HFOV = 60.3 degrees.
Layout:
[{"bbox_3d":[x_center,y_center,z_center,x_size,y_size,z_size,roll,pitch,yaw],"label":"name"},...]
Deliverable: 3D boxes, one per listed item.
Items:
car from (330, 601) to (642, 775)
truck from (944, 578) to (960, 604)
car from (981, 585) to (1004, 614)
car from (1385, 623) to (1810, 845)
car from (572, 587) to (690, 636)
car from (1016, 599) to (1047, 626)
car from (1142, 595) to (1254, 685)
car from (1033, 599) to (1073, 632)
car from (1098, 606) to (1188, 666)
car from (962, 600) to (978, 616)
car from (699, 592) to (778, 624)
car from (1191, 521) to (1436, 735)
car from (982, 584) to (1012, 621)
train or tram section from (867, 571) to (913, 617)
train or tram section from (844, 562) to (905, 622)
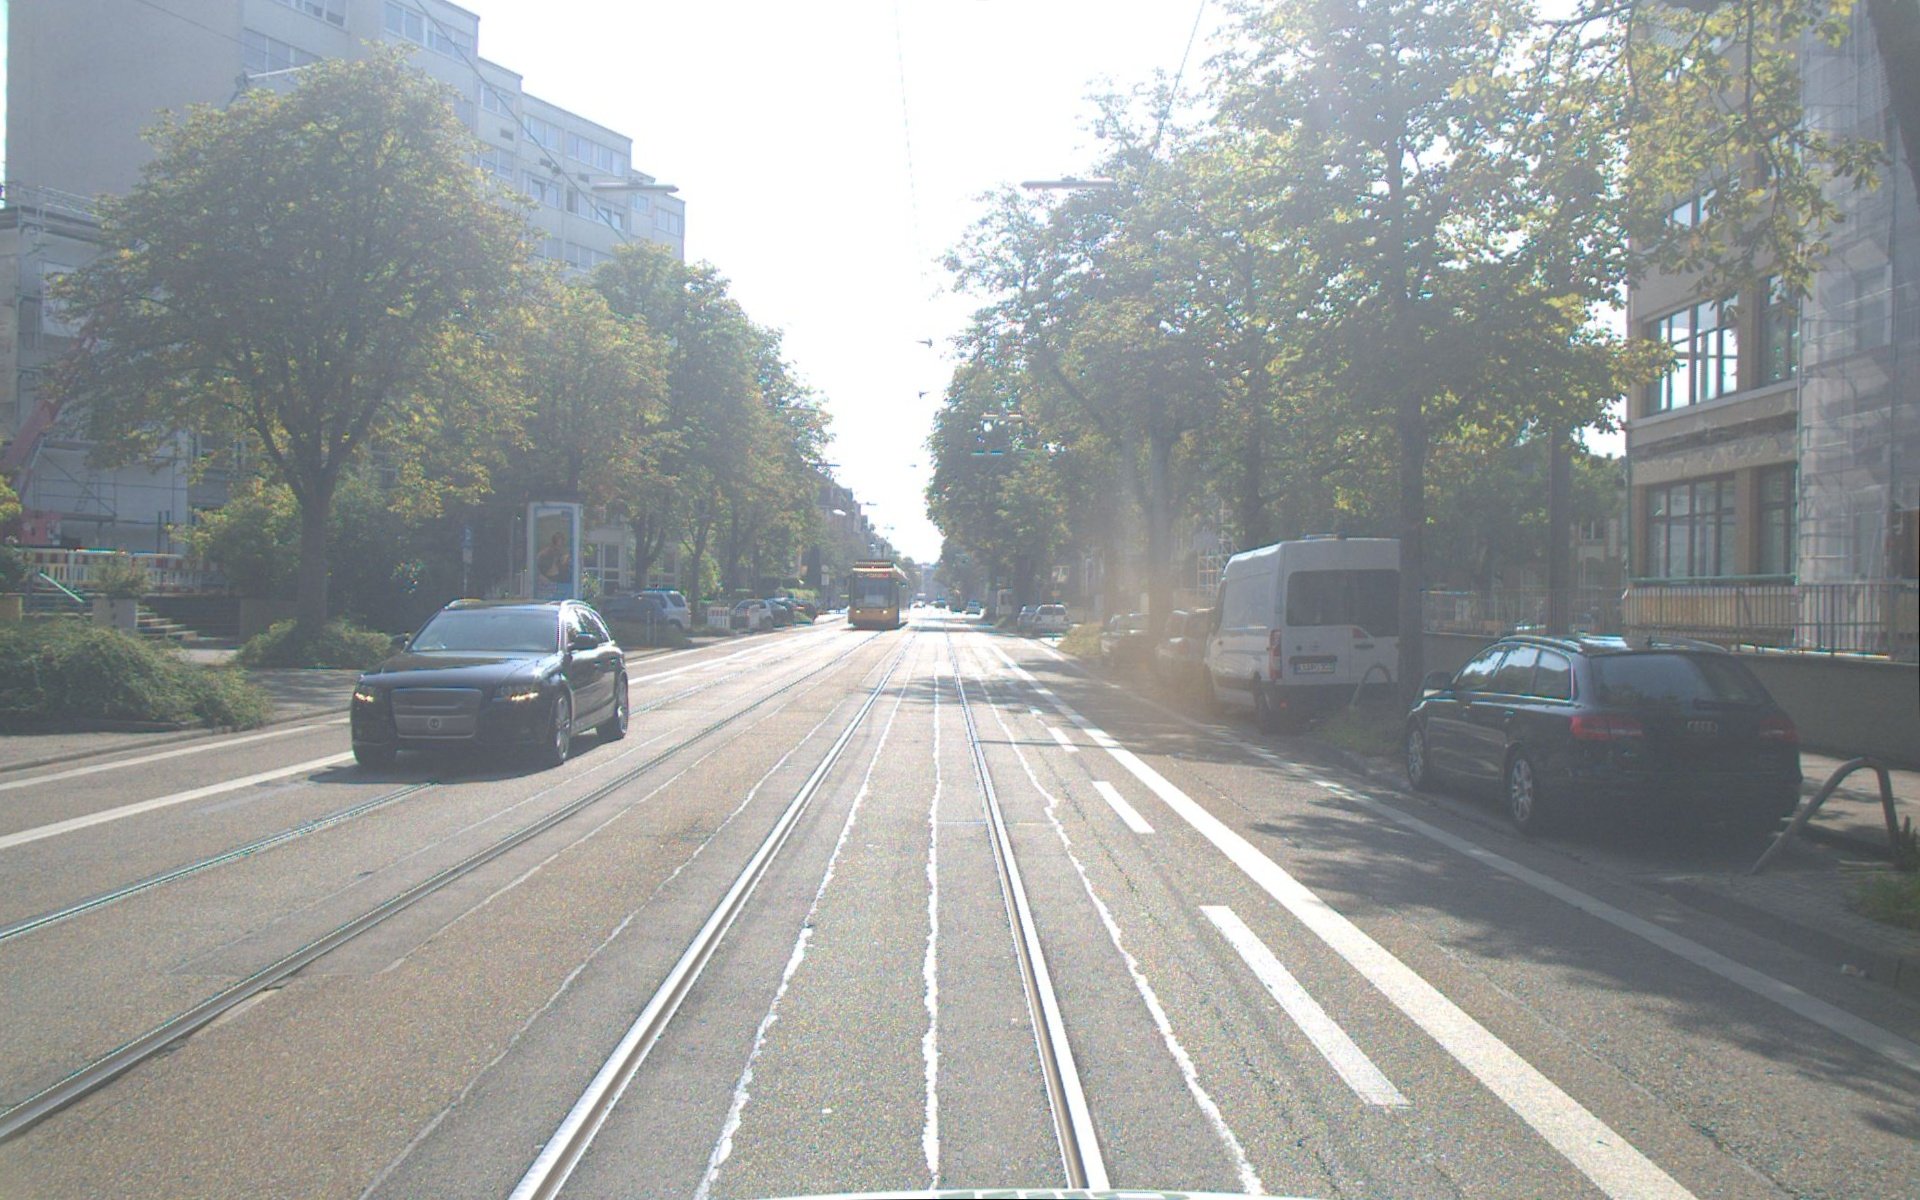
[{"bbox_3d":[-4.347,0.731,15.933,1.791,1.400,4.511,1,0,-2],"label":"car"},{"bbox_3d":[-1.024,-1.075,206.632,1.823,3.185,4.350,1,0,-3],"label":"truck"},{"bbox_3d":[2.832,-0.043,144.727,1.963,2.518,4.477,1,0,0],"label":"car"},{"bbox_3d":[4.867,0.926,13.430,1.583,1.398,4.827,0,0,0],"label":"car"},{"bbox_3d":[-11.523,0.397,58.107,1.715,1.650,3.769,1,0,44],"label":"car"},{"bbox_3d":[3.869,0.666,89.840,1.562,1.443,3.634,1,0,0],"label":"car"},{"bbox_3d":[4.650,0.740,32.773,1.630,1.645,3.877,-1,1,0],"label":"car"},{"bbox_3d":[4.261,0.706,76.141,1.655,1.443,3.634,1,0,0],"label":"car"},{"bbox_3d":[4.647,0.893,42.517,1.718,1.402,4.718,-1,0,-1],"label":"car"},{"bbox_3d":[1.232,0.990,200.249,1.952,1.870,4.000,1,0,0],"label":"car"},{"bbox_3d":[-10.639,0.385,79.464,1.541,1.468,3.745,1,0,39],"label":"car"},{"bbox_3d":[4.842,0.345,23.607,2.041,2.597,5.499,-3,0,-2],"label":"car"},{"bbox_3d":[2.638,0.174,117.914,1.963,2.534,4.477,2,0,0],"label":"car"},{"bbox_3d":[-4.691,-0.382,112.460,2.625,2.912,10.543,1,0,0],"label":"train or tram section"},{"bbox_3d":[-4.469,-0.403,89.262,2.673,2.945,15.452,1,0,-1],"label":"train or tram section"}]
